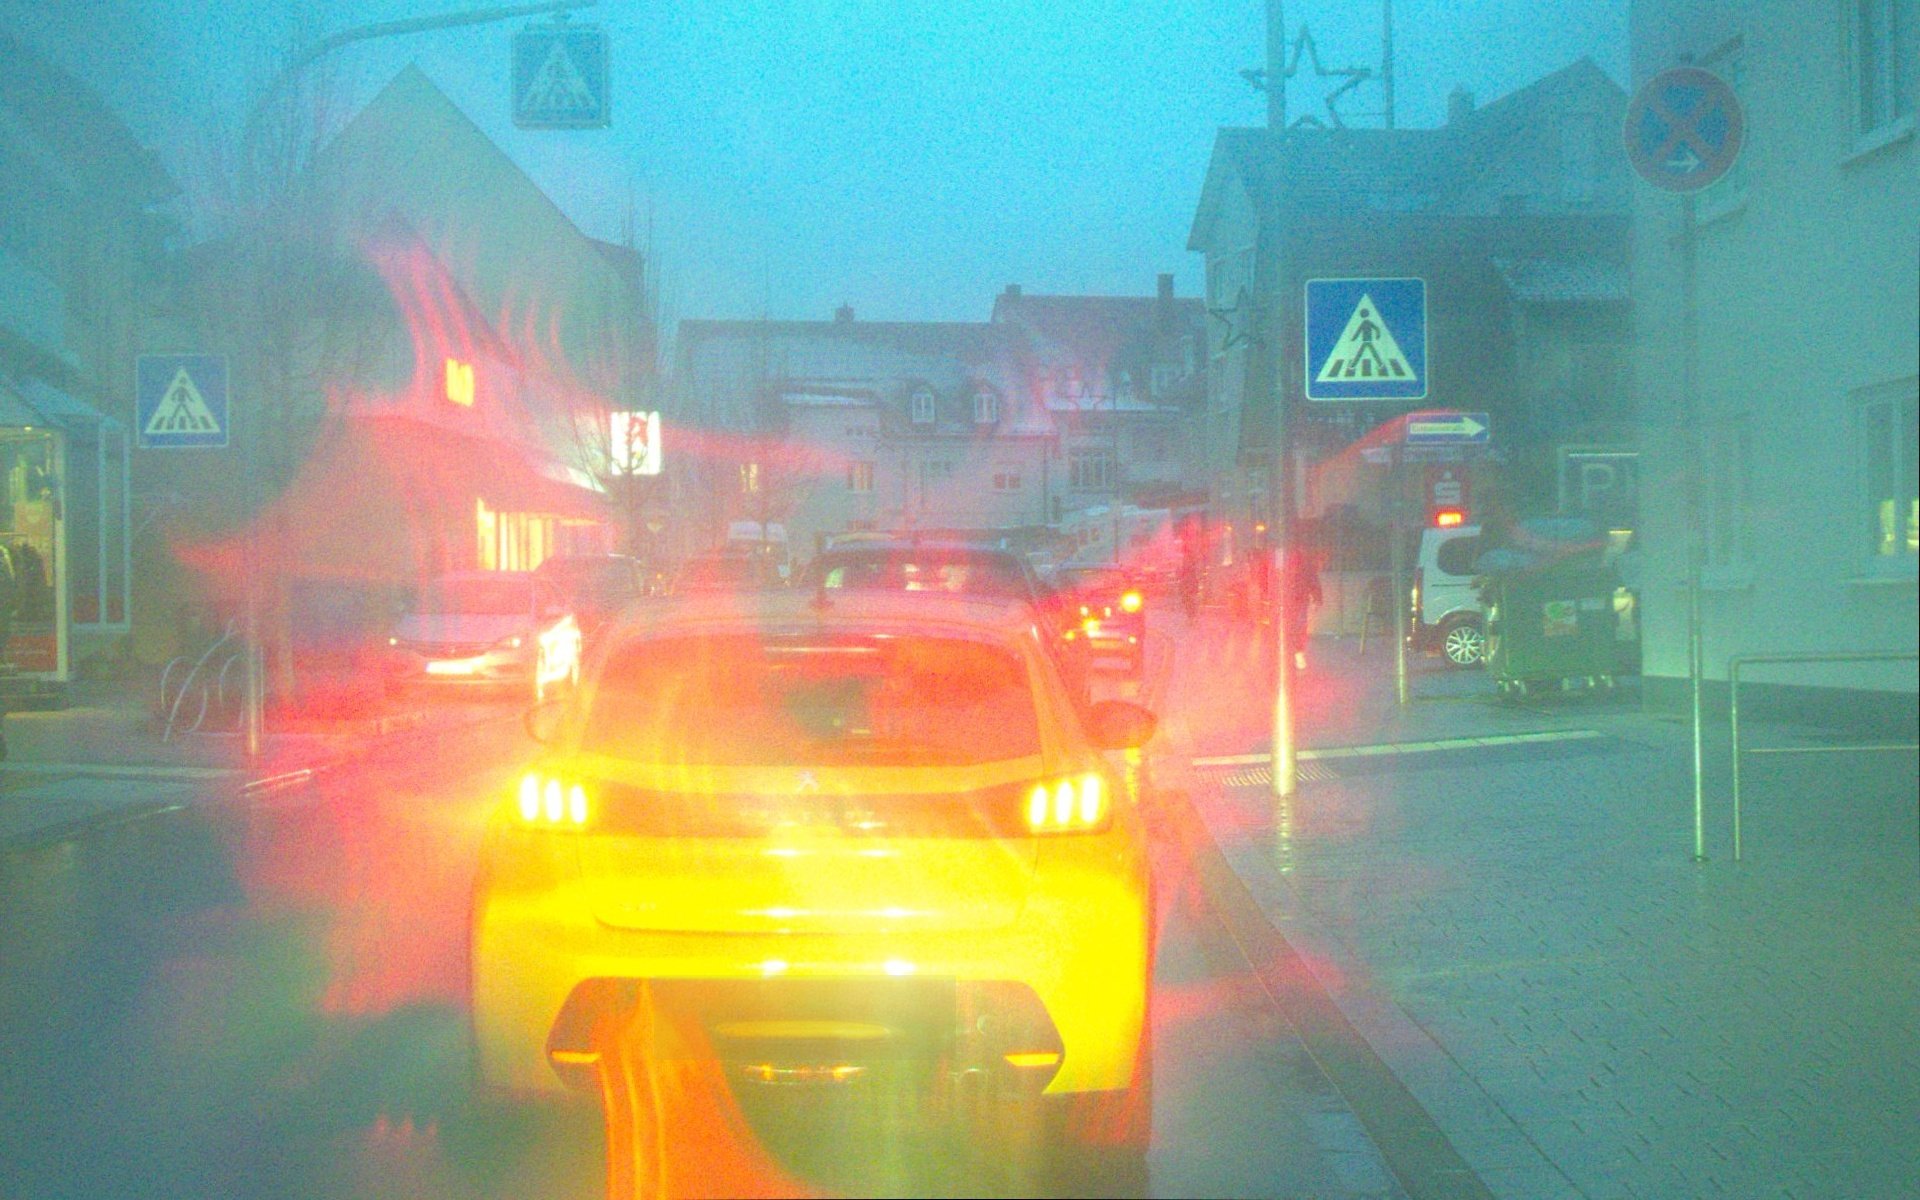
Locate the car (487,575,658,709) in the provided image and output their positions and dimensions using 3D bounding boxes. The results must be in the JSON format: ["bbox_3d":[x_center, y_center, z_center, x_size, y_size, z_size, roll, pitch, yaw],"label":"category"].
[{"bbox_3d":[-5.262,0.531,47.153,1.993,1.746,4.362,0,0,-2],"label":"car"}]

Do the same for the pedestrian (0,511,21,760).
[{"bbox_3d":[-7.548,0.257,26.096,0.703,1.870,0.617,1,1,-6],"label":"pedestrian"}]

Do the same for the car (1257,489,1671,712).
[{"bbox_3d":[4.693,0.003,32.373,3.697,2.007,1.689,1,0,3],"label":"car"}]

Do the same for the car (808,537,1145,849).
[{"bbox_3d":[0.117,0.493,20.445,1.798,1.656,4.000,0,0,1],"label":"car"}]

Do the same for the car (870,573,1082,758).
[{"bbox_3d":[0.199,0.548,31.969,1.827,1.596,4.581,0,0,2],"label":"car"}]

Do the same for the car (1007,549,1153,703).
[{"bbox_3d":[1.627,0.319,47.820,1.641,2.007,4.001,-2,1,-3],"label":"car"}]

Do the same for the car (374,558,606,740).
[{"bbox_3d":[-5.402,0.521,40.033,1.993,2.007,4.361,0,0,1],"label":"car"}]

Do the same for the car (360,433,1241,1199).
[{"bbox_3d":[-0.271,0.478,10.139,1.994,1.789,4.648,0,1,2],"label":"car"}]

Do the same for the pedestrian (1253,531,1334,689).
[{"bbox_3d":[4.294,0.123,44.294,1.016,2.007,1.275,0,0,5],"label":"pedestrian"}]
